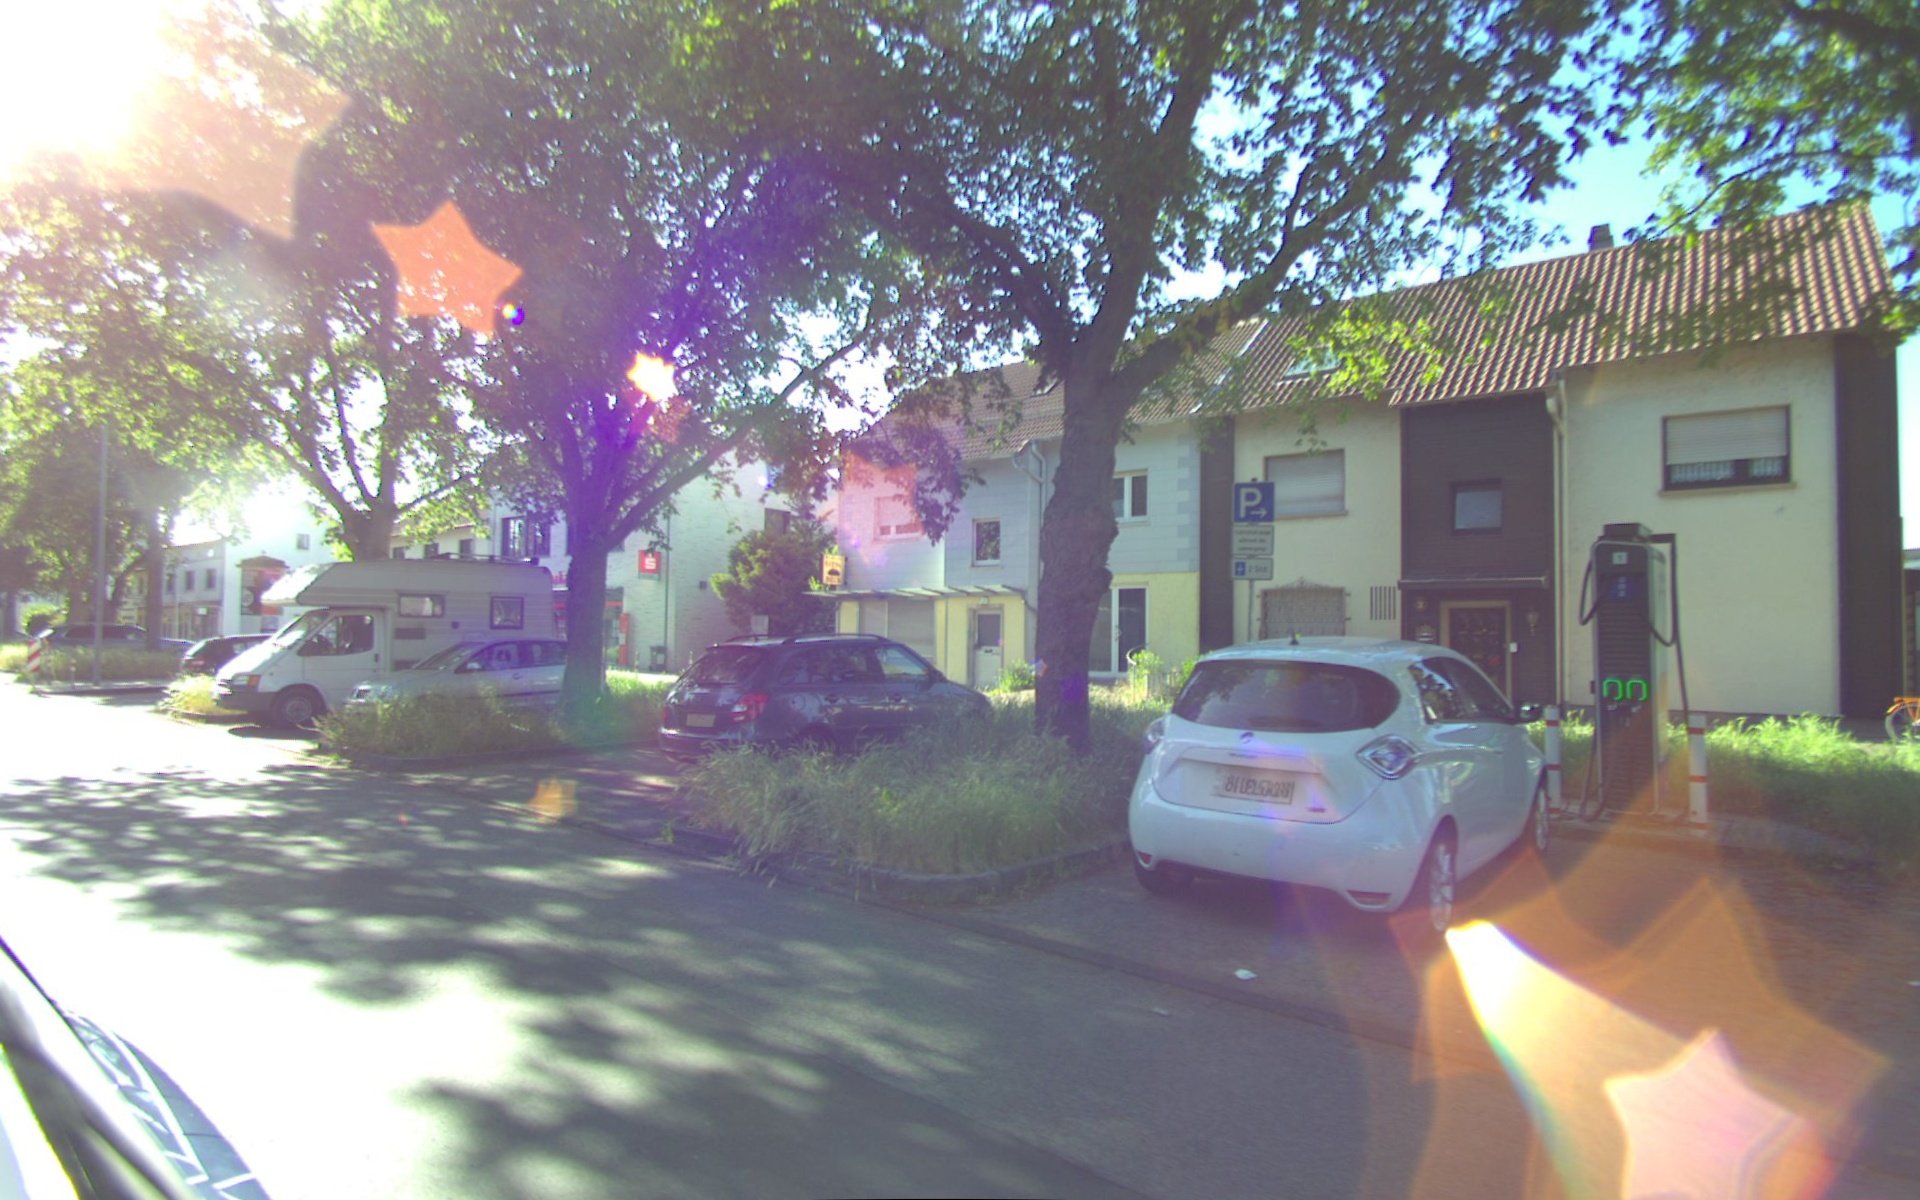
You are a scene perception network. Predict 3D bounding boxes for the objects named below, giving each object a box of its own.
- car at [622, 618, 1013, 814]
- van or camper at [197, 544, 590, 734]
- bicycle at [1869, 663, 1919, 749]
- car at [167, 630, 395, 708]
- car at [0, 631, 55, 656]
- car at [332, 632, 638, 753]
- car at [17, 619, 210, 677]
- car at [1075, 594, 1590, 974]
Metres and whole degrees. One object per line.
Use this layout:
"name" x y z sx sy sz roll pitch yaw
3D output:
"car" -1.403 1.065 11.147 1.998 1.601 3.947 -1 1 40
"van or camper" -9.740 0.534 17.889 2.000 2.826 5.713 -1 1 43
"bicycle" 15.133 1.481 13.764 4.033 1.185 0.700 -1 -3 25
"car" -14.893 1.448 22.328 1.640 1.460 3.942 -1 0 44
"car" -58.317 2.637 61.755 1.999 1.426 4.337 -1 -1 40
"car" -7.439 1.350 16.137 1.998 1.469 3.947 -1 1 39
"car" -30.346 1.652 36.451 1.997 1.741 5.014 -1 1 37
"car" 2.662 0.886 6.647 1.965 1.673 3.946 -2 -3 40
